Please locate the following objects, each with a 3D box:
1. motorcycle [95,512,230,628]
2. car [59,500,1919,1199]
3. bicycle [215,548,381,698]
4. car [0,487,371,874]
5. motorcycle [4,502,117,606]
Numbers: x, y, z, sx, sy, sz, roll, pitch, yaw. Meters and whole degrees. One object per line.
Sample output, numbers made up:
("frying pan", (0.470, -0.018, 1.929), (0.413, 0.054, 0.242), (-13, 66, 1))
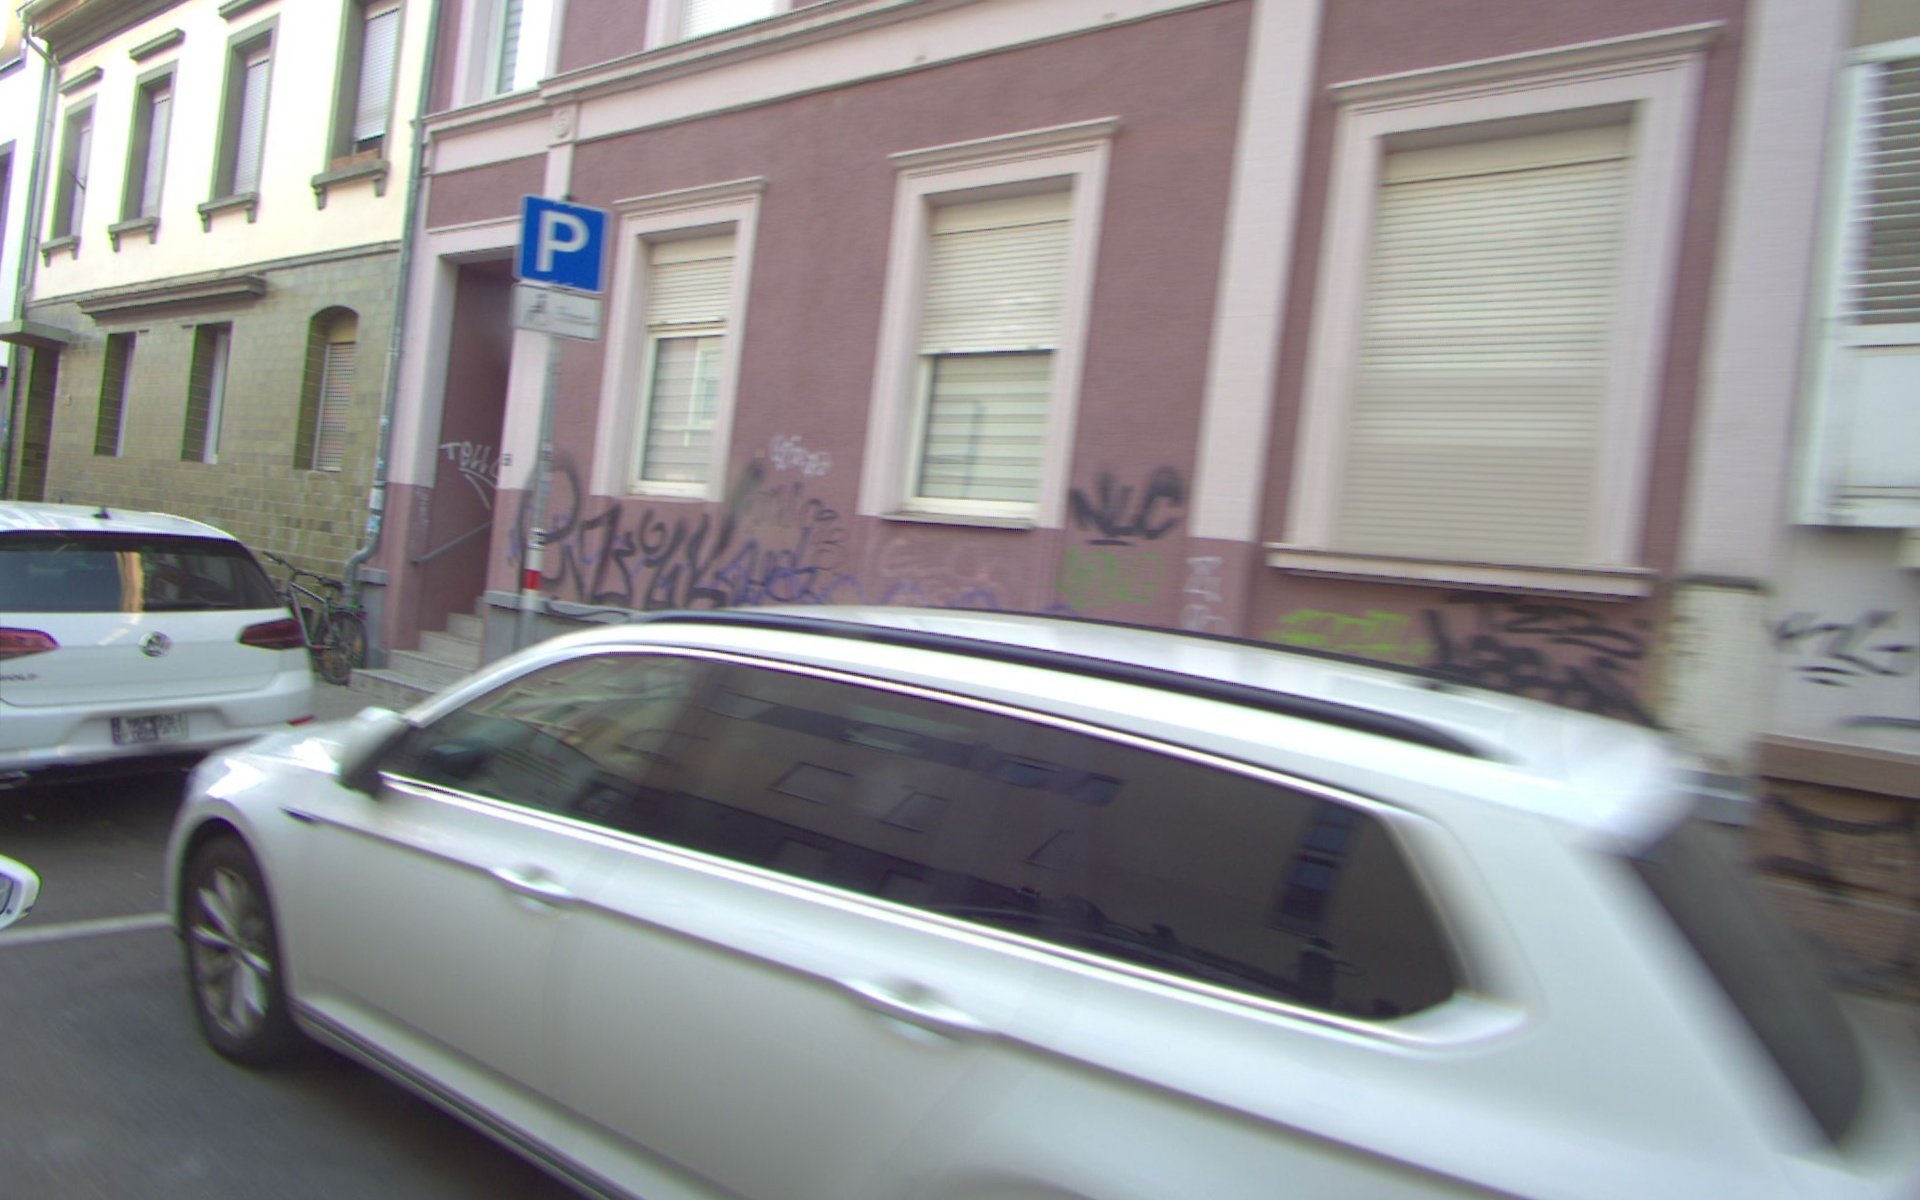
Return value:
("motorcycle", (-8.747, -0.342, 11.009), (1.747, 1.110, 0.558), (6, 2, 32))
("car", (-0.434, 0.711, 2.716), (4.552, 1.564, 1.698), (6, 1, 31))
("bicycle", (-6.152, 0.194, 9.323), (1.657, 1.187, 0.522), (6, -1, 32))
("car", (-5.245, 0.176, 5.558), (3.979, 1.564, 1.687), (6, 1, 31))
("motorcycle", (-11.049, -0.579, 12.337), (1.847, 1.110, 0.501), (6, 2, 32))
